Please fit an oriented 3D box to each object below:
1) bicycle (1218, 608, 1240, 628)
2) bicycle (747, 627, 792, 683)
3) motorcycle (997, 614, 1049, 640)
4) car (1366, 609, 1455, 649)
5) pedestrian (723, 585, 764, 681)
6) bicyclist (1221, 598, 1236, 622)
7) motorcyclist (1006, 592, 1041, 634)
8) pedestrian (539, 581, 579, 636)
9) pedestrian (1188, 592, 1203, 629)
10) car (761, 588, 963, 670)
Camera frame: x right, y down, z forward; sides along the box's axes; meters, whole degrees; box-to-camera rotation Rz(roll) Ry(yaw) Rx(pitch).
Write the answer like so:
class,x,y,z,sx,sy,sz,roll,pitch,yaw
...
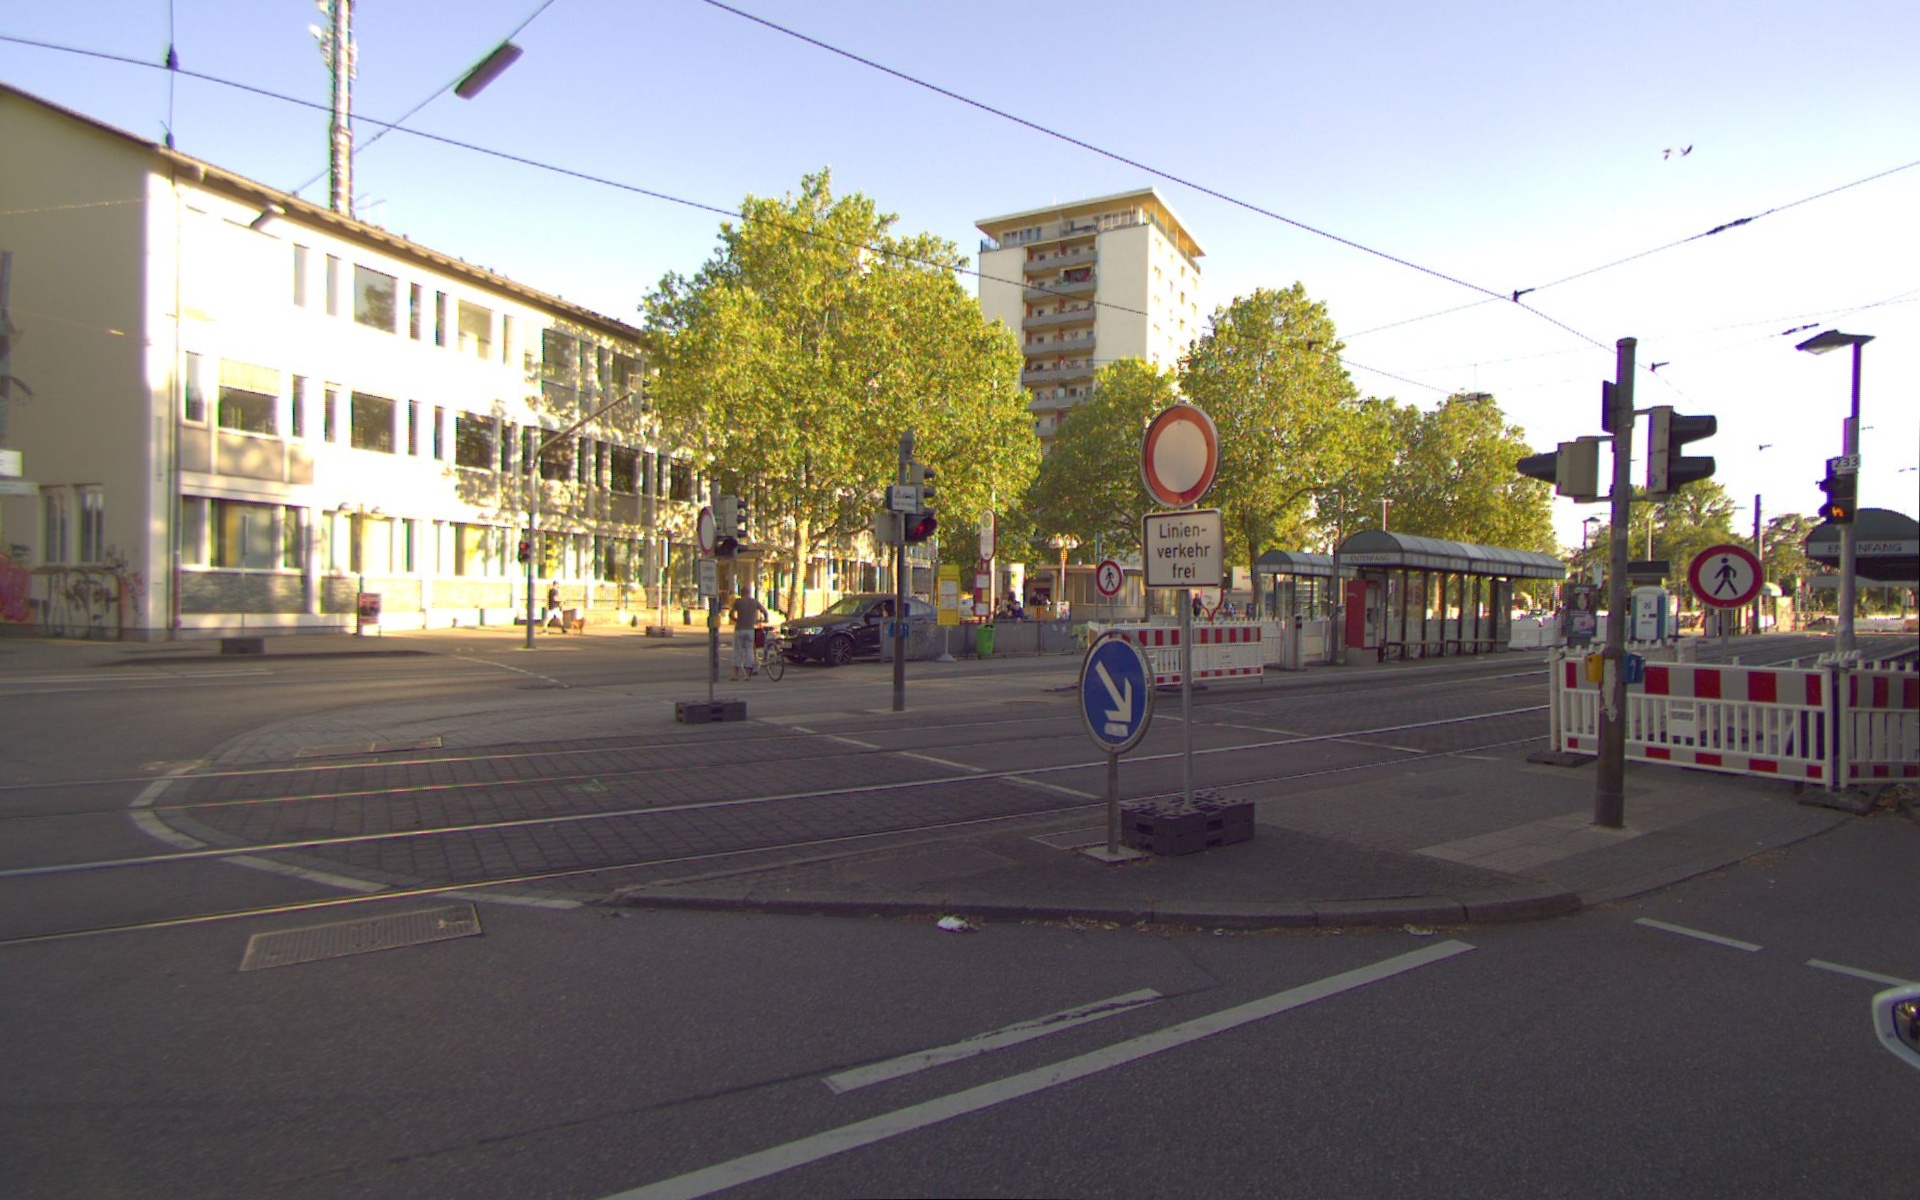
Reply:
class,x,y,z,sx,sy,sz,roll,pitch,yaw
bicycle,13.302,0.875,49.655,0.406,0.980,1.453,1,0,44
bicycle,-3.638,1.019,19.085,0.318,0.978,1.568,1,0,-31
motorcycle,2.068,0.876,32.674,0.672,0.819,1.986,-1,-1,39
car,20.414,1.259,45.437,4.653,1.677,1.930,0,0,-41
pedestrian,-4.091,0.608,18.991,0.589,1.782,0.592,1,1,-31
bicyclist,13.255,0.501,49.594,0.406,1.189,0.659,1,0,44
motorcyclist,2.072,0.415,32.676,0.672,1.332,0.980,-1,-1,39
pedestrian,-12.961,0.274,32.466,0.793,1.752,0.883,1,0,30
pedestrian,11.730,0.518,49.980,0.559,1.834,0.611,1,0,30
car,-2.243,0.636,23.807,4.555,1.689,1.876,1,2,-44
